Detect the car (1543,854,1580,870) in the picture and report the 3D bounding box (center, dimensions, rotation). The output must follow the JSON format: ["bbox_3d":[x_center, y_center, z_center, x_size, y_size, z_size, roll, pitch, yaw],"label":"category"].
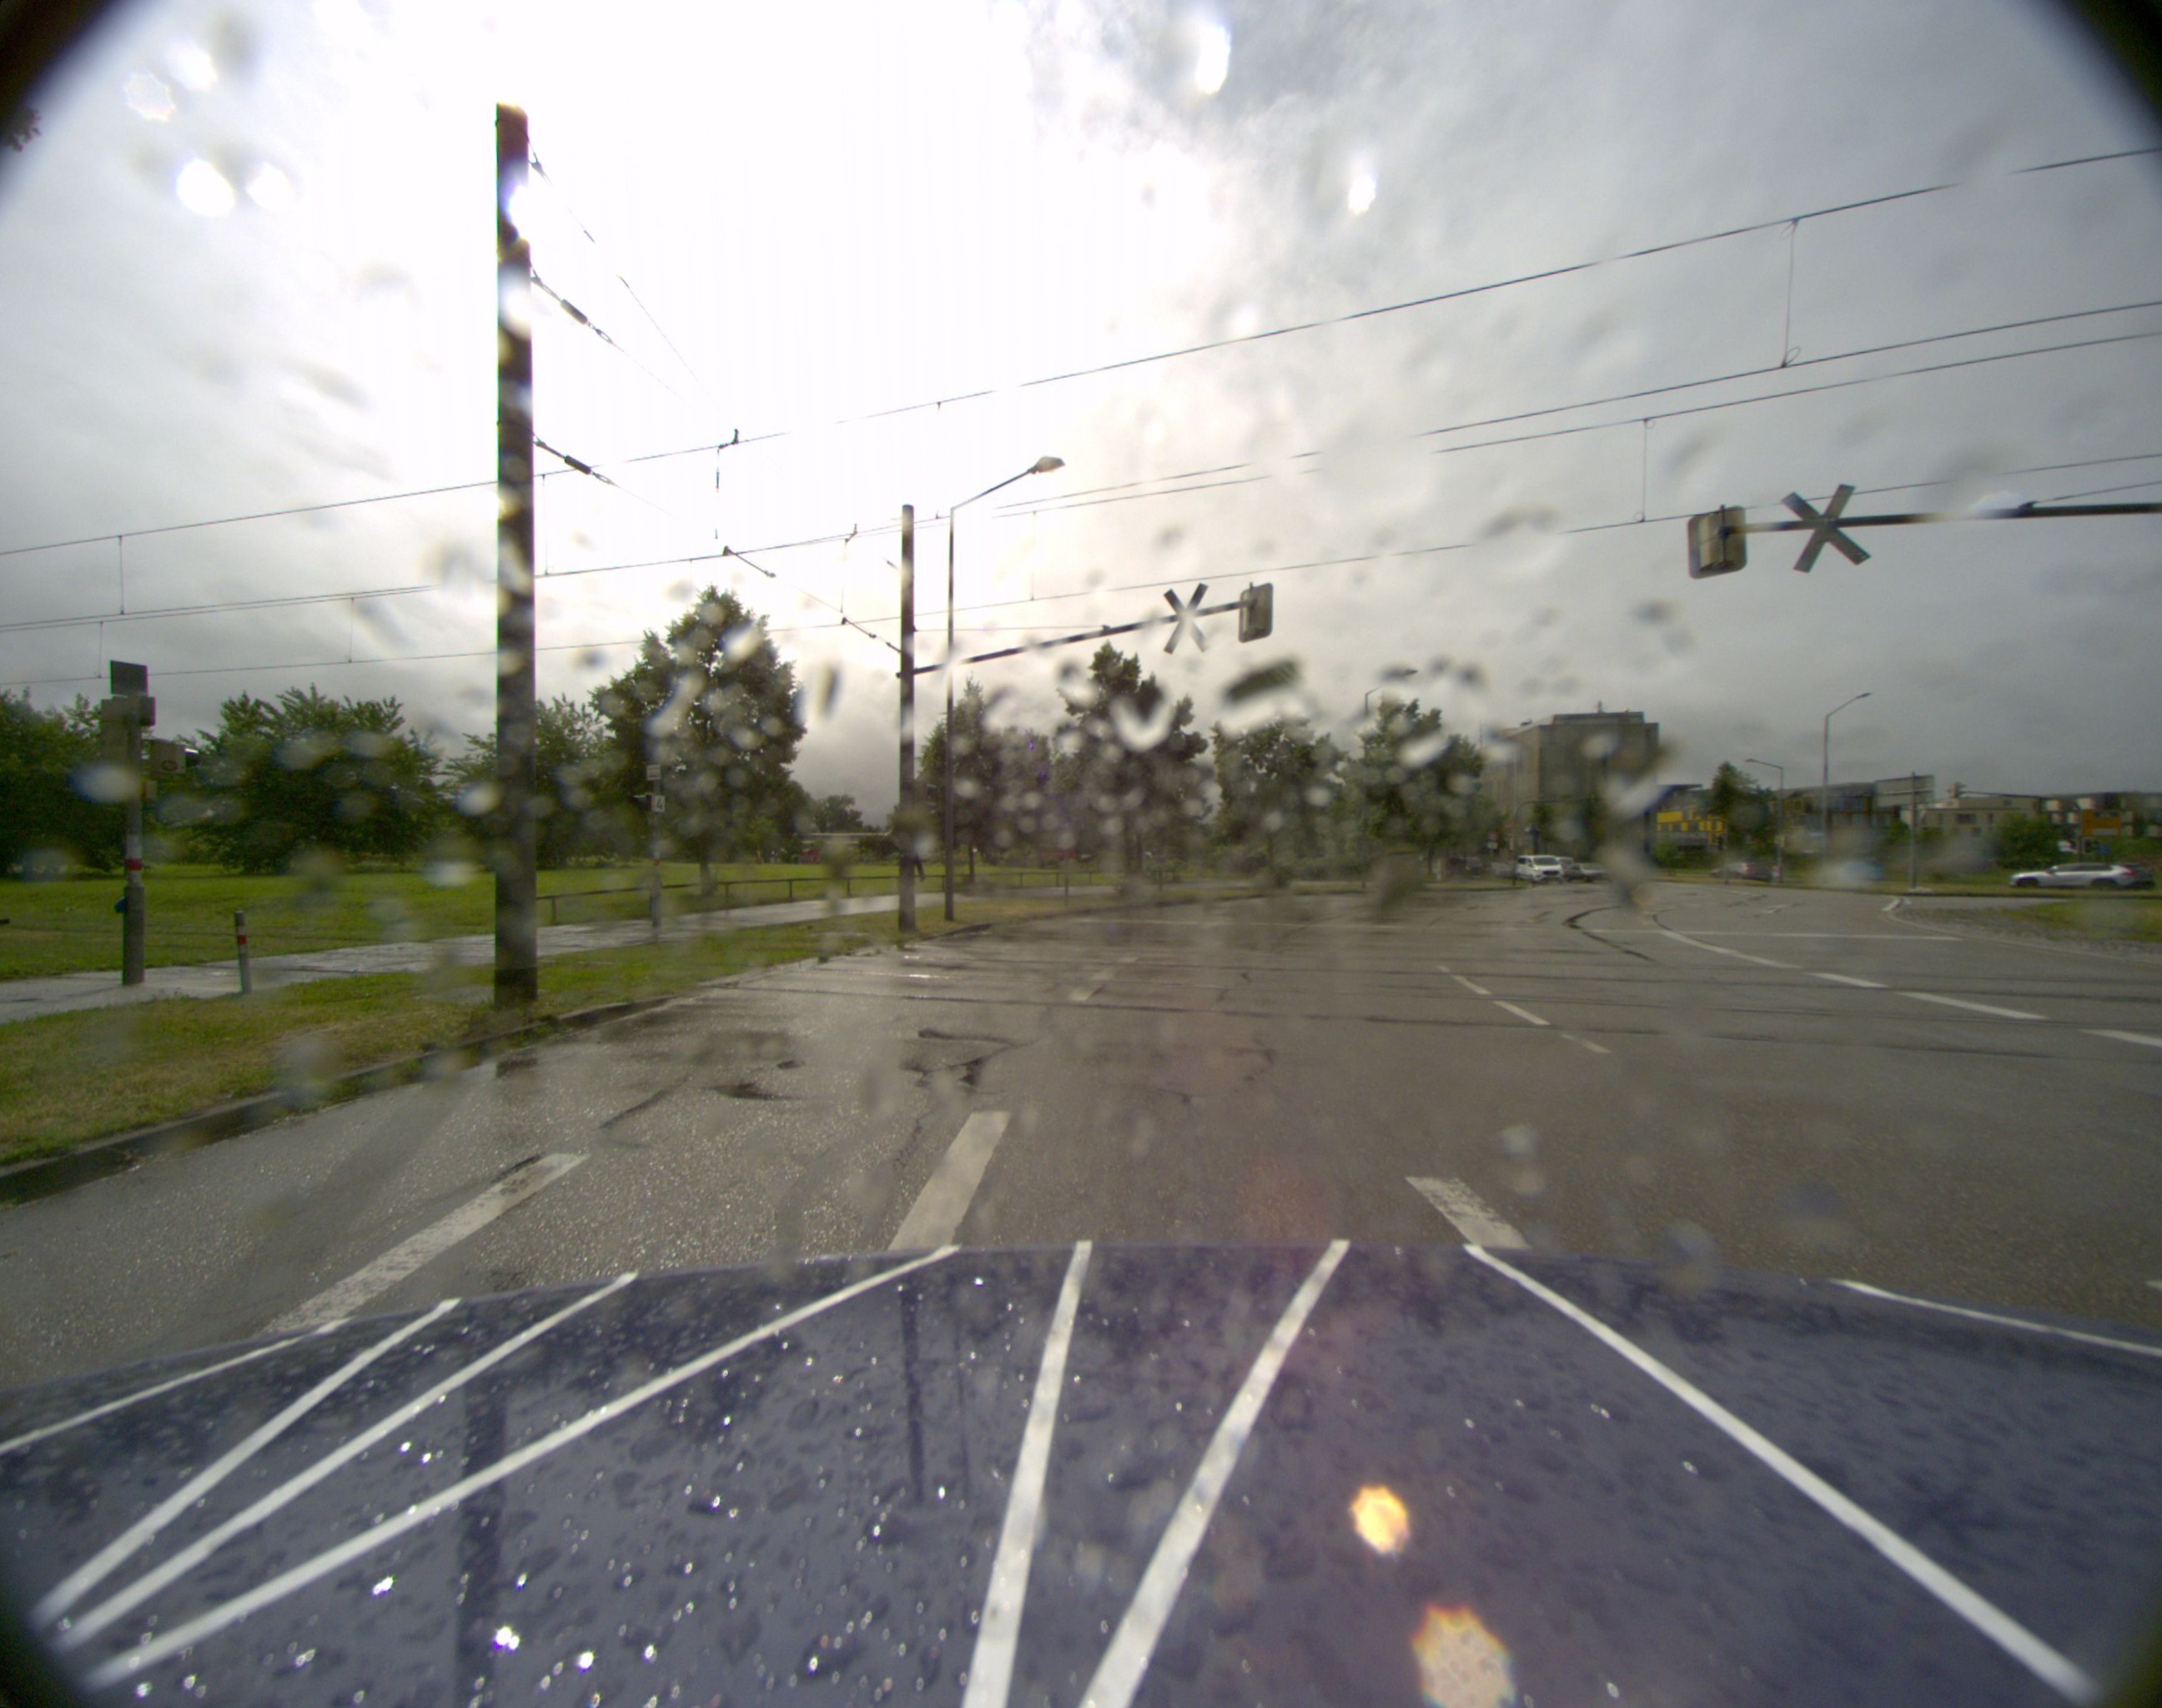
[{"bbox_3d":[52.965,0.871,83.806,1.864,1.752,4.556,1,0,10],"label":"car"}]

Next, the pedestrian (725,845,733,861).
[{"bbox_3d":[-37.186,-0.119,80.171,0.607,1.721,0.598,0,-1,-40],"label":"pedestrian"}]

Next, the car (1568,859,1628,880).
[{"bbox_3d":[36.966,1.109,54.443,1.865,1.372,4.555,-1,0,10],"label":"car"}]

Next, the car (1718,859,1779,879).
[{"bbox_3d":[48.170,1.094,54.948,1.732,1.404,4.134,1,-1,17],"label":"car"}]

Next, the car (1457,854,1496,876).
[{"bbox_3d":[37.232,0.984,71.574,2.075,1.976,4.805,1,0,13],"label":"car"}]

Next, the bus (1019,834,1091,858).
[{"bbox_3d":[-3.934,-1.199,116.907,10.976,3.439,2.001,-1,-1,2],"label":"bus"}]

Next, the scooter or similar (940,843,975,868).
[{"bbox_3d":[-10.438,0.183,63.946,1.242,2.001,3.400,0,-2,-42],"label":"scooter or similar"}]

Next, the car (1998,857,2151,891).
[{"bbox_3d":[51.394,1.019,39.450,1.877,1.653,4.477,0,-1,-16],"label":"car"}]

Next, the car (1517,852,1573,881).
[{"bbox_3d":[33.478,0.914,55.004,2.075,1.976,4.806,1,0,14],"label":"car"}]

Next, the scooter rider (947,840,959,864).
[{"bbox_3d":[-10.865,-0.135,64.512,0.708,2.001,0.768,0,-1,-45],"label":"scooter rider"}]
